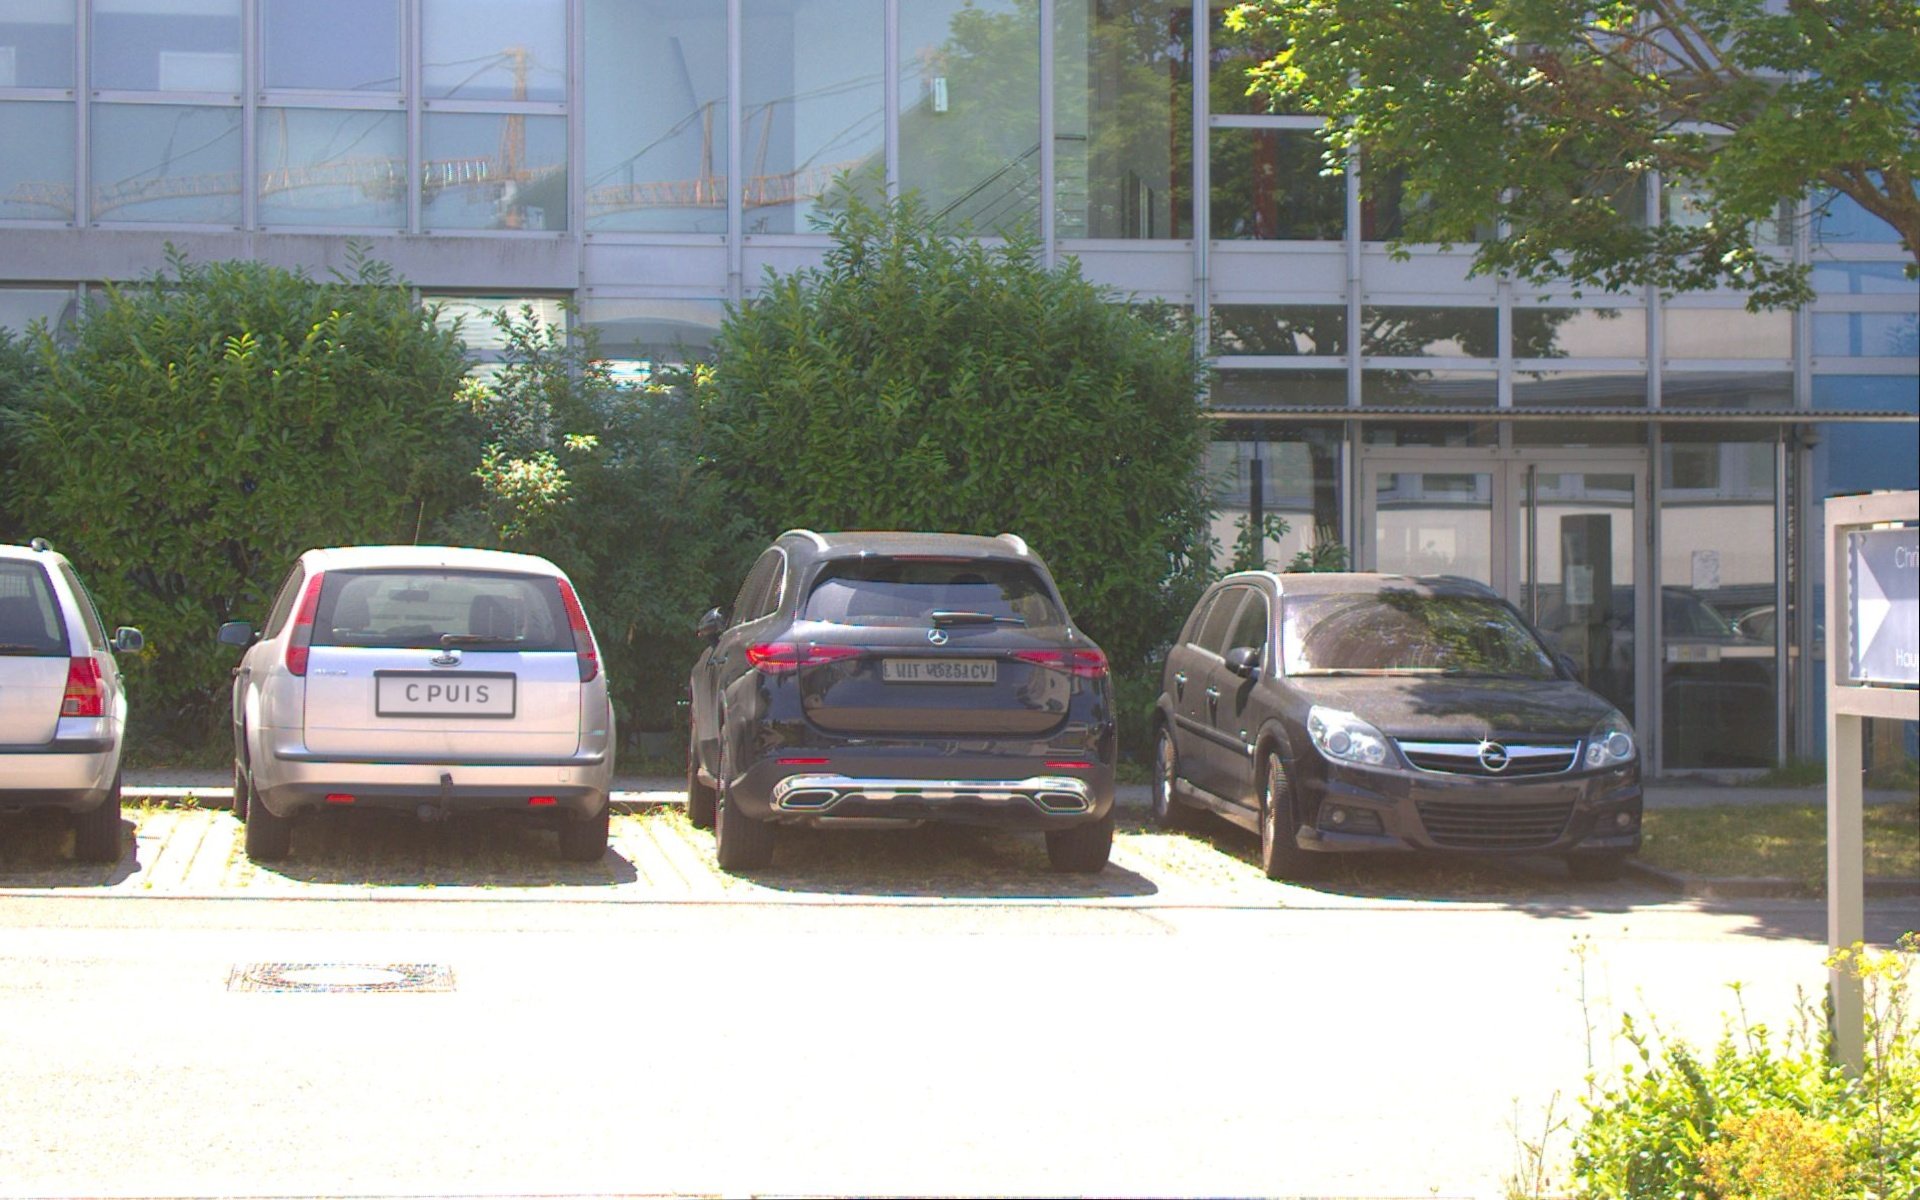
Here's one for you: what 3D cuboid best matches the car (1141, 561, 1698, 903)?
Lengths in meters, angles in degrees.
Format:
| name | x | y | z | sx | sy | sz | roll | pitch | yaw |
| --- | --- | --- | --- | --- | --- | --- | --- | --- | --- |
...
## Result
| name | x | y | z | sx | sy | sz | roll | pitch | yaw |
| --- | --- | --- | --- | --- | --- | --- | --- | --- | --- |
| car | 2.202 | 0.578 | 17.702 | 1.769 | 1.477 | 4.260 | 0 | 1 | -8 |

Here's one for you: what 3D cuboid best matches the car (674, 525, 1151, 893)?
| name | x | y | z | sx | sy | sz | roll | pitch | yaw |
| --- | --- | --- | --- | --- | --- | --- | --- | --- | --- |
| car | -0.370 | 0.459 | 17.523 | 1.926 | 1.605 | 3.987 | 2 | 1 | -8 |

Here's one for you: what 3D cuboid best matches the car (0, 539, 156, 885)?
| name | x | y | z | sx | sy | sz | roll | pitch | yaw |
| --- | --- | --- | --- | --- | --- | --- | --- | --- | --- |
| car | -4.822 | 0.446 | 16.560 | 1.731 | 1.444 | 3.655 | 1 | 1 | -12 |

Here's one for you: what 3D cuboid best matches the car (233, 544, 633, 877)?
| name | x | y | z | sx | sy | sz | roll | pitch | yaw |
| --- | --- | --- | --- | --- | --- | --- | --- | --- | --- |
| car | -2.765 | 0.482 | 17.424 | 1.764 | 1.444 | 3.655 | 1 | 1 | -12 |
